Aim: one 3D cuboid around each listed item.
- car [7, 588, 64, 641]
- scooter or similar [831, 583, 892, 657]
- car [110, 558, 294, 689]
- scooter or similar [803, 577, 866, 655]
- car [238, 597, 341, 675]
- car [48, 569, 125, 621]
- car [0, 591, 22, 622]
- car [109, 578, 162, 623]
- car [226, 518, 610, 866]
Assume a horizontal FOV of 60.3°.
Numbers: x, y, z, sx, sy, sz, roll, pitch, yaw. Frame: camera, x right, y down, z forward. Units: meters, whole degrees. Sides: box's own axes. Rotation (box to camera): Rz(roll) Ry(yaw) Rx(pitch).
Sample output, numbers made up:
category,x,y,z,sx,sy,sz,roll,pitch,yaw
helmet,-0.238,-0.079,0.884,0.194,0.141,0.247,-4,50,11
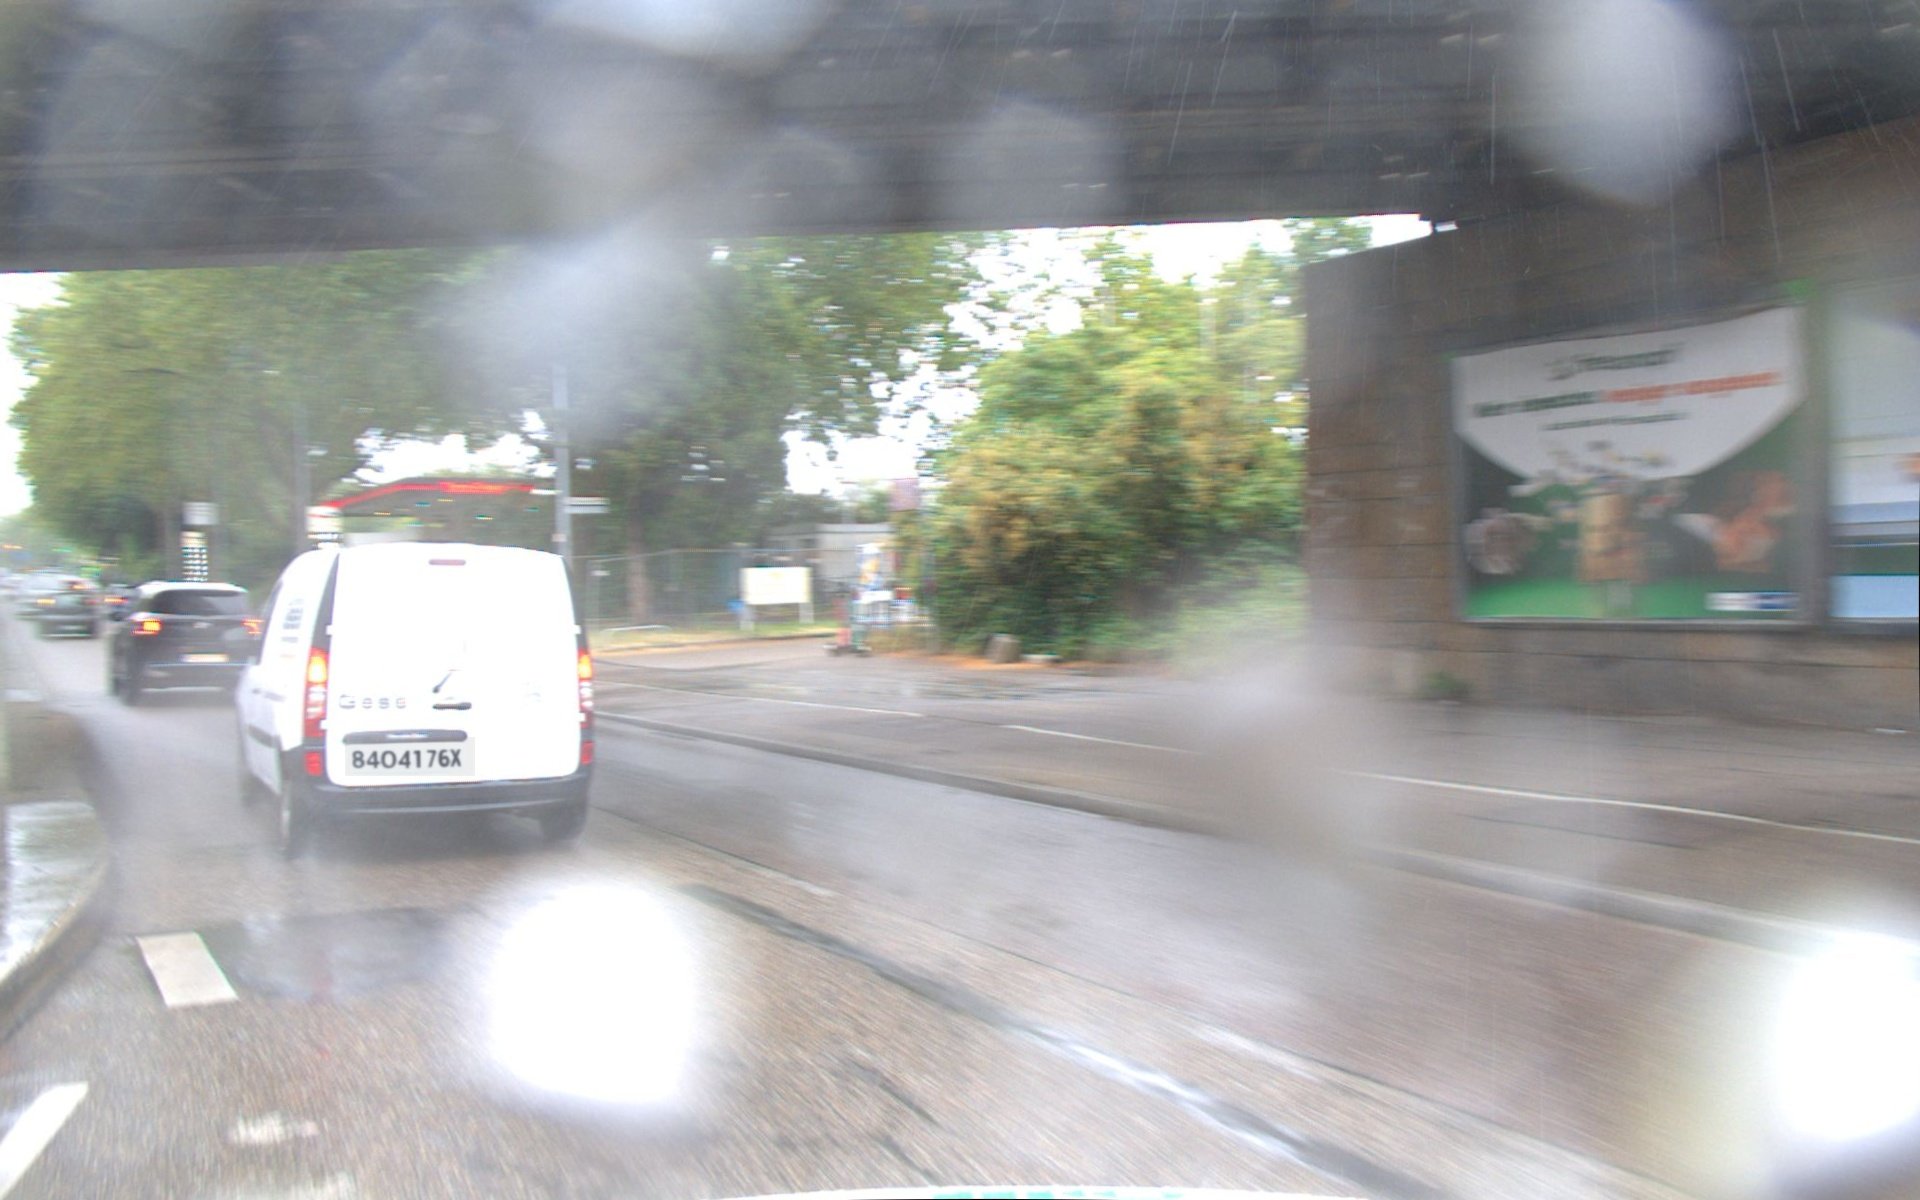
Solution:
category,x,y,z,sx,sy,sz,roll,pitch,yaw
car,-39.813,0.603,71.253,2.027,2.177,3.960,-2,1,-29
scooter or similar,-1.747,0.333,29.092,0.757,1.199,1.542,-4,2,-13
car,-10.777,0.286,23.375,1.898,1.637,3.958,-2,1,-31
scooter or similar,-2.310,0.283,30.700,0.693,1.333,1.559,-6,0,9
car,-12.650,0.638,31.118,1.659,1.306,3.233,-2,1,-24
car,-26.396,-0.168,50.086,1.710,1.473,3.971,-2,1,-23
car,-64.349,0.416,111.238,1.970,2.049,3.964,-2,1,-27
car,-32.800,0.014,65.755,1.647,1.745,3.588,0,0,-30
car,-3.697,0.458,10.812,1.736,1.808,3.964,-2,1,-28
